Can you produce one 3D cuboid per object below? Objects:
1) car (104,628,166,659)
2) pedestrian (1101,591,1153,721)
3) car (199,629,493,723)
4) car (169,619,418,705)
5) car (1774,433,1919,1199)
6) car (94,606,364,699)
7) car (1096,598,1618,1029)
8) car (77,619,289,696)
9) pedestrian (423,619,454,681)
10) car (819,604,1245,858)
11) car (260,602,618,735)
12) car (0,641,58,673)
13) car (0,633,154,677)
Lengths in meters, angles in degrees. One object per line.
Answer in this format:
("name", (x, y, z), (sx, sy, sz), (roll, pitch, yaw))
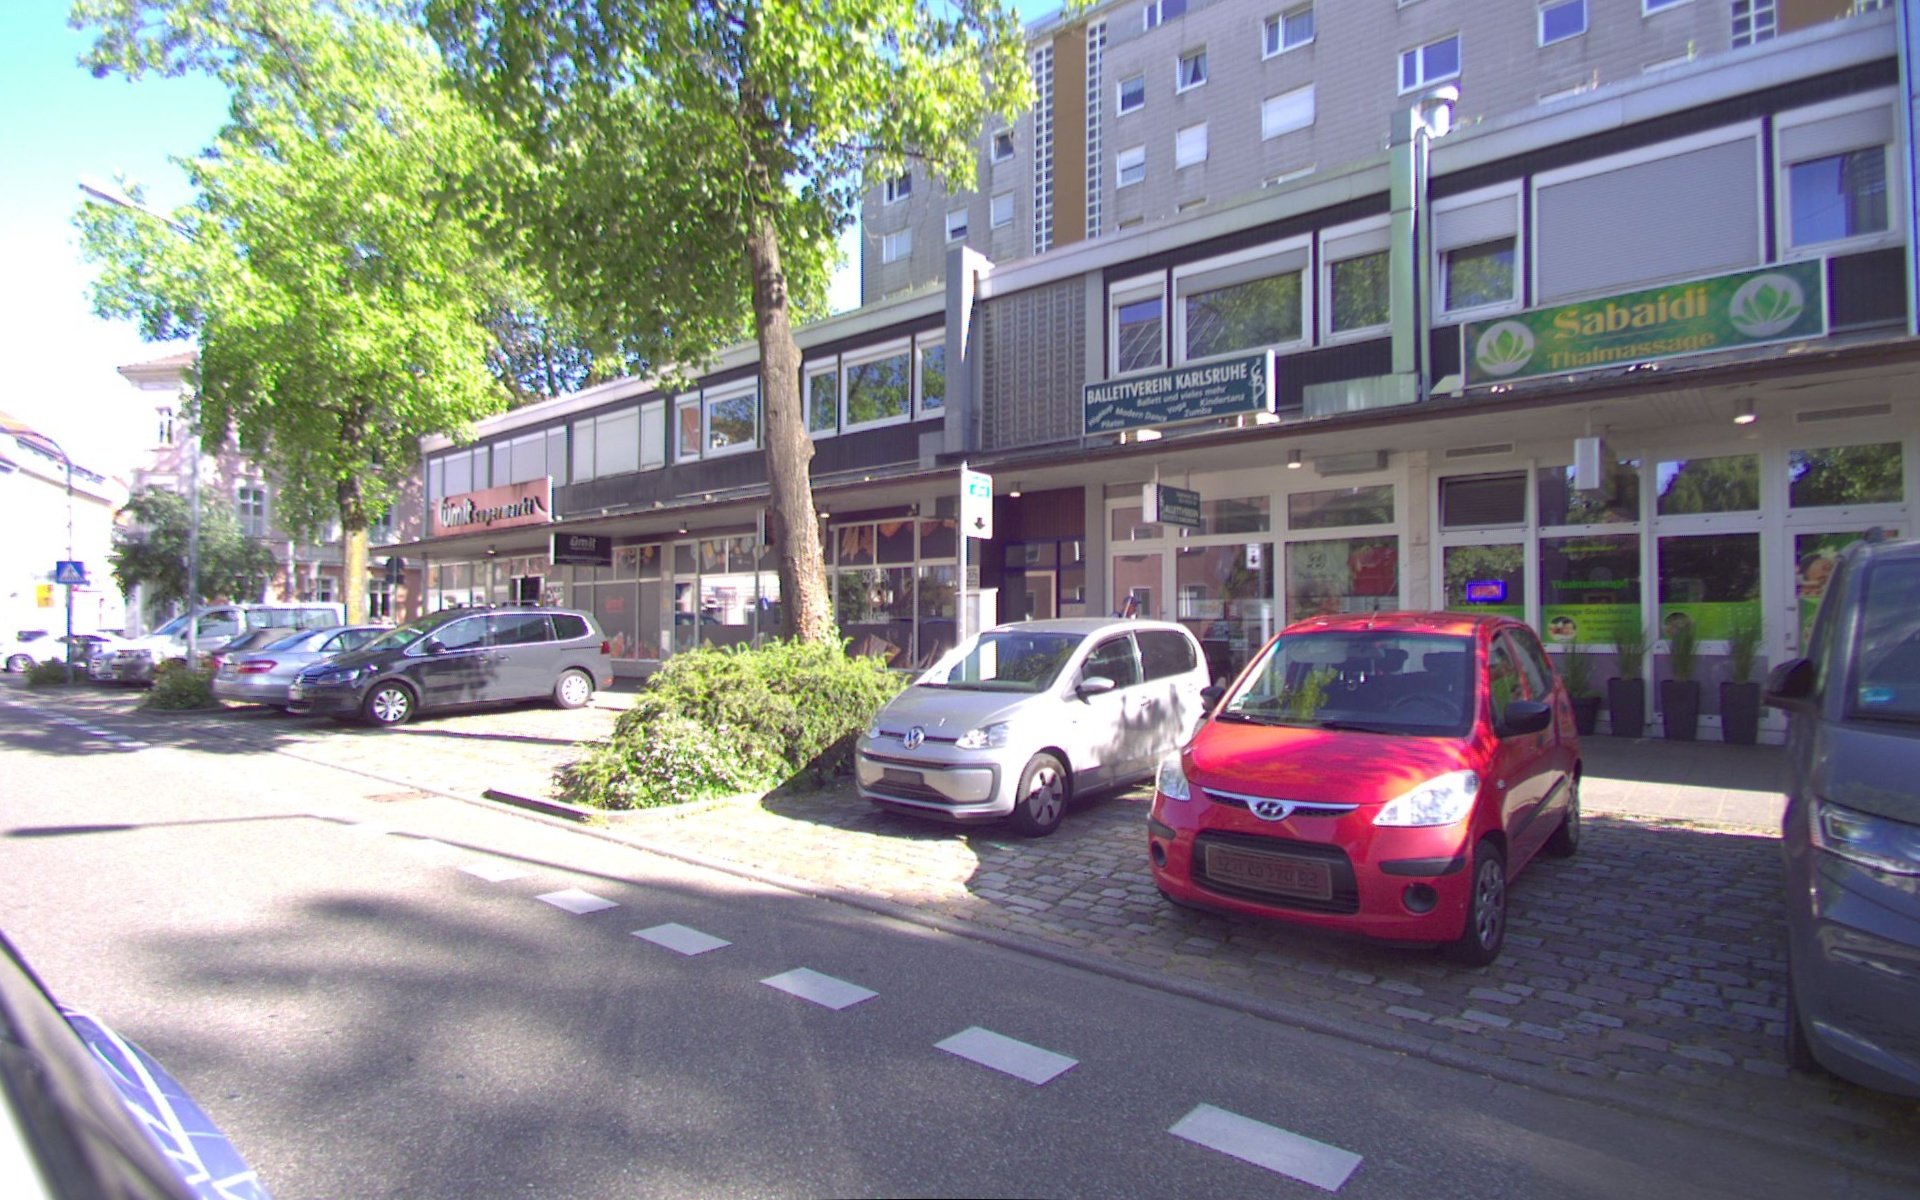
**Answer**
("car", (-47.479, 2.486, 58.353), (1.827, 1.674, 4.013), (1, -2, -25))
("pedestrian", (2.220, 0.734, 13.461), (0.532, 1.678, 0.439), (-2, -3, 41))
("car", (-10.350, 1.203, 17.303), (1.757, 1.409, 3.948), (-2, -2, 38))
("car", (-13.727, 1.208, 21.034), (1.735, 1.431, 3.949), (-2, 1, 38))
("car", (4.428, 0.546, 3.939), (1.871, 1.953, 4.981), (-2, -1, 38))
("car", (-17.340, 1.160, 24.242), (1.907, 1.984, 4.934), (-2, -1, 38))
("car", (2.409, 0.796, 5.608), (1.660, 1.566, 3.522), (-2, -1, 40))
("car", (-19.568, 1.400, 25.615), (1.756, 1.805, 3.947), (-2, -2, 39))
("pedestrian", (-13.631, 1.296, 26.456), (0.662, 1.567, 0.522), (-1, -1, 41))
("car", (0.750, 0.847, 8.263), (1.671, 1.573, 3.549), (-2, -1, 41))
("car", (-8.059, 0.947, 16.087), (1.872, 1.790, 4.722), (-2, -1, 39))
("car", (-46.779, 2.811, 50.517), (1.966, 1.475, 4.011), (1, -2, -32))
("car", (-31.455, 1.882, 35.424), (1.997, 1.436, 4.745), (-2, -2, 37))
